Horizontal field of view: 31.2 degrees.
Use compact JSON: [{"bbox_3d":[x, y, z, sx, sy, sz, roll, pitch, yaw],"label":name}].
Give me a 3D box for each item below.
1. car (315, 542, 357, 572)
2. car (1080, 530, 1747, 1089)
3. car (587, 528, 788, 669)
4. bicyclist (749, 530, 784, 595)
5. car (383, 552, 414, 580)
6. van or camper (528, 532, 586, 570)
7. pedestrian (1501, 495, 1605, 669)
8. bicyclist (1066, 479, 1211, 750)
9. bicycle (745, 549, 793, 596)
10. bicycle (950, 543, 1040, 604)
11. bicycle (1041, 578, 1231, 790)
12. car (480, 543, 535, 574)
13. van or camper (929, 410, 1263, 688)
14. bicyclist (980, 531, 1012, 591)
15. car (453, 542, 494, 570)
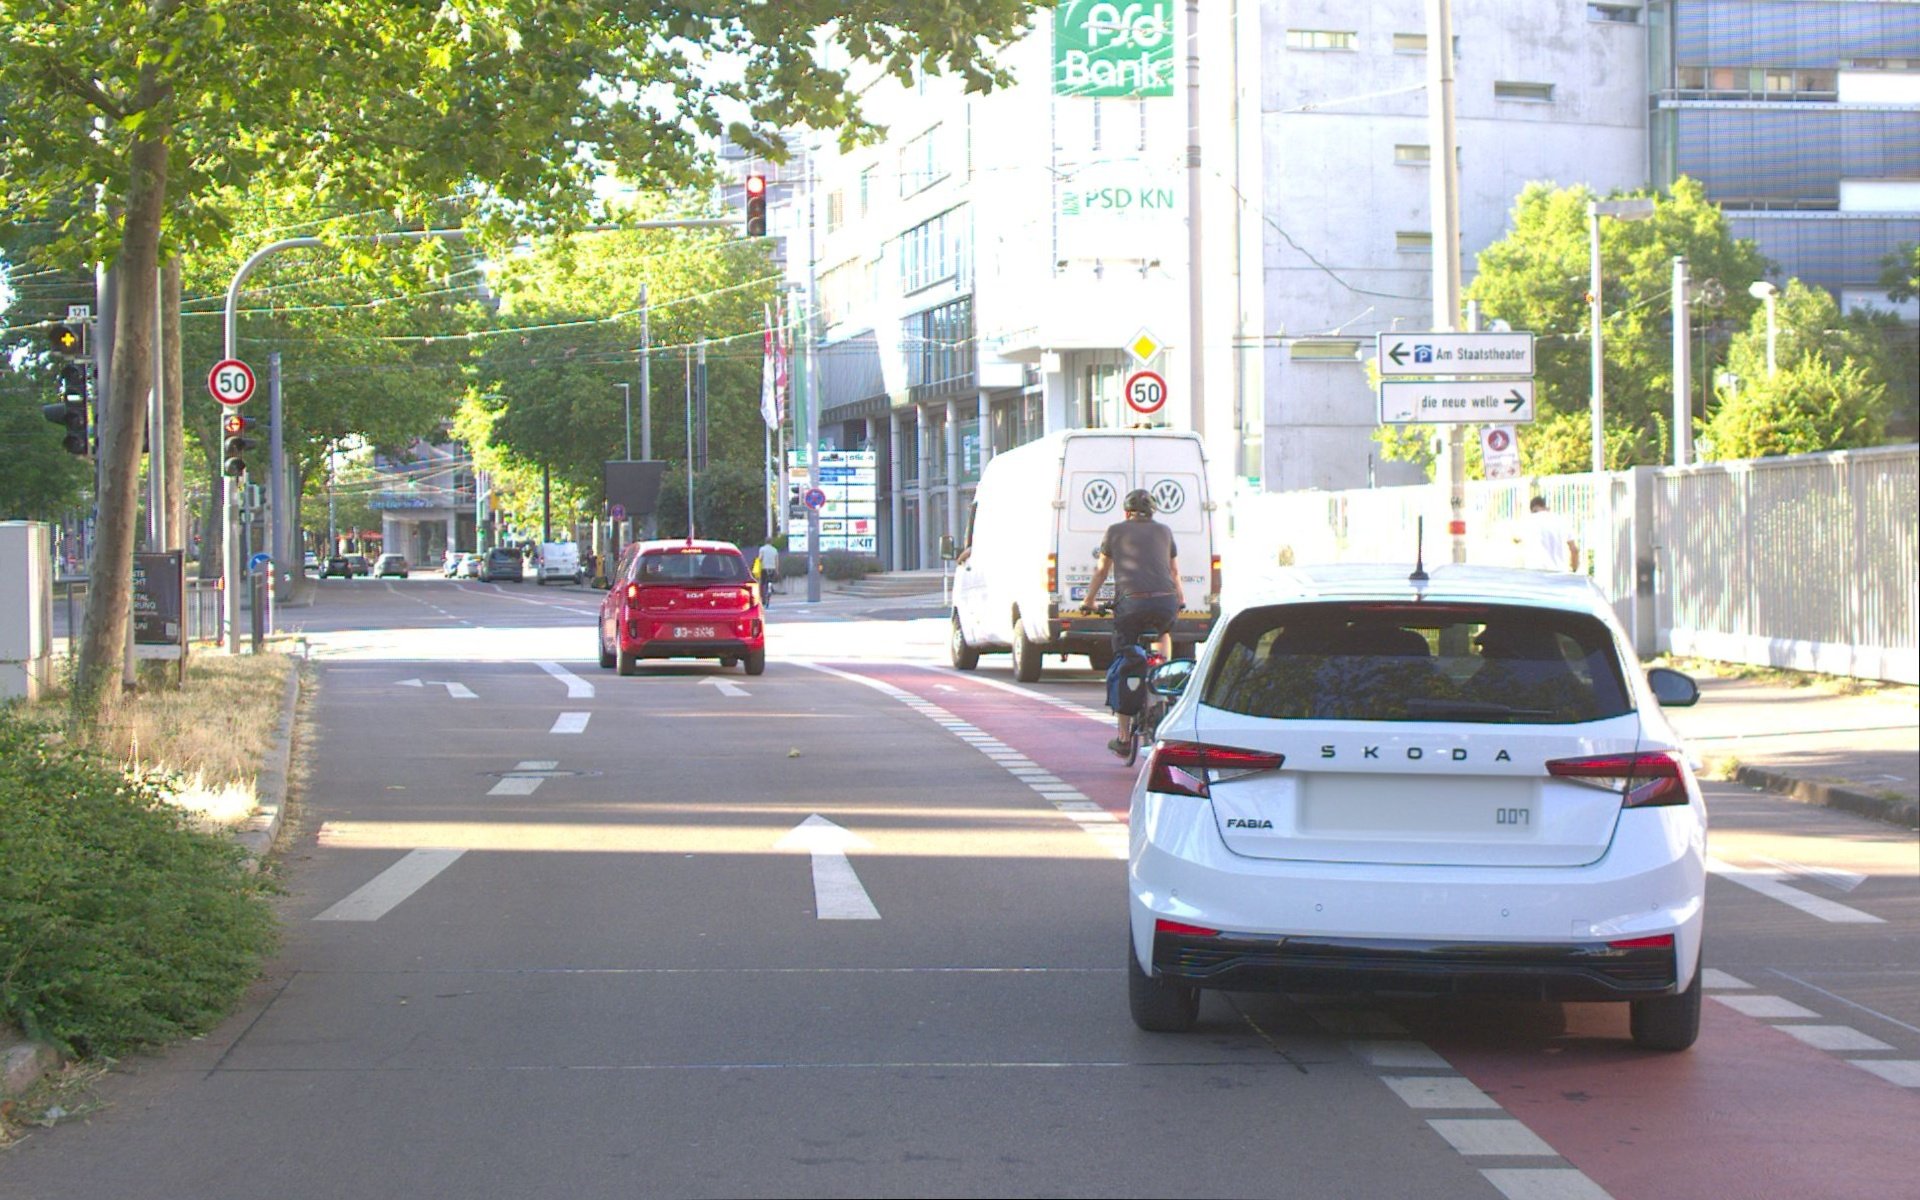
[{"bbox_3d":[-36.555,-2.525,201.449,2.057,1.648,3.493,-2,1,-16],"label":"car"},{"bbox_3d":[1.504,0.541,11.530,1.802,1.496,3.980,1,1,7],"label":"car"},{"bbox_3d":[-3.109,-0.054,38.624,1.839,1.484,3.717,-1,1,-11],"label":"car"},{"bbox_3d":[-4.922,-0.954,87.398,0.785,1.629,0.639,-1,1,-13],"label":"bicyclist"},{"bbox_3d":[-33.709,-2.036,206.378,1.657,1.601,3.532,-2,1,-12],"label":"car"},{"bbox_3d":[-19.159,-2.325,163.273,2.145,1.744,4.433,-2,1,-14],"label":"van or camper"},{"bbox_3d":[6.041,-0.189,35.036,0.786,1.742,0.772,-2,1,-12],"label":"pedestrian"},{"bbox_3d":[1.115,0.081,21.585,0.743,1.663,0.745,1,1,-9],"label":"bicyclist"},{"bbox_3d":[-4.857,-0.697,87.169,0.792,1.157,2.500,-1,1,-13],"label":"bicycle"},{"bbox_3d":[0.817,-0.624,80.068,1.987,1.374,0.647,-1,1,-12],"label":"bicycle"},{"bbox_3d":[1.084,0.500,21.695,0.743,1.220,2.156,1,1,-9],"label":"bicycle"},{"bbox_3d":[-23.777,-2.193,180.496,2.477,1.523,4.433,-2,1,-12],"label":"car"},{"bbox_3d":[1.346,-0.562,37.636,2.268,2.724,6.348,2,1,-10],"label":"van or camper"},{"bbox_3d":[0.843,-0.920,80.070,0.605,1.384,0.636,-1,1,-12],"label":"bicyclist"},{"bbox_3d":[-28.592,-2.595,201.912,1.884,1.523,4.433,-2,1,-14],"label":"car"}]
